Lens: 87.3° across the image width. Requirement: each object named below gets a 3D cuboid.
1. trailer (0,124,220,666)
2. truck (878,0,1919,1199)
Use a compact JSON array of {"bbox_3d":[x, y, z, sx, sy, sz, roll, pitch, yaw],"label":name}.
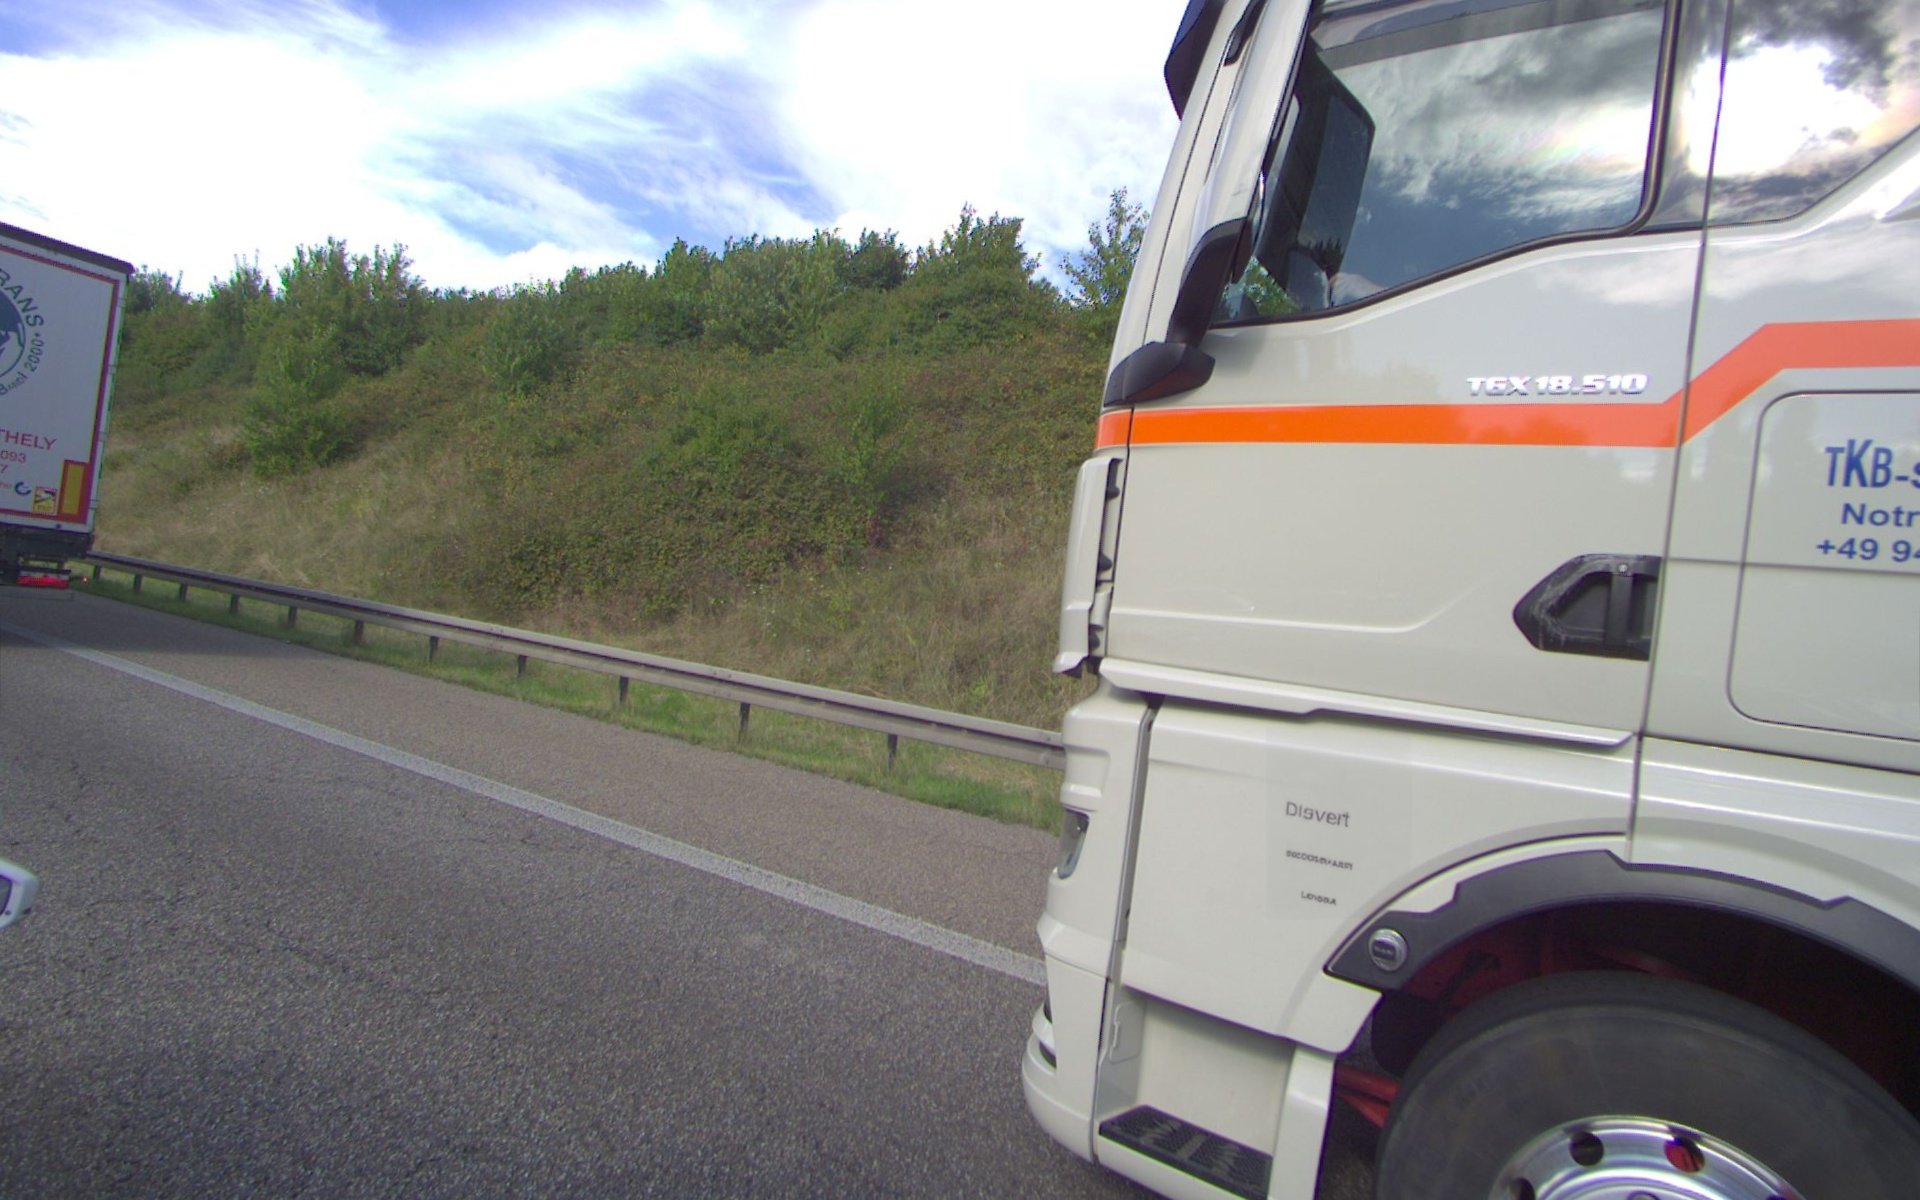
[{"bbox_3d":[-14.161,-2.472,12.361,13.068,4.715,3.008,7,-1,31],"label":"trailer"},{"bbox_3d":[3.212,-0.156,1.962,5.807,4.091,2.807,7,-1,33],"label":"truck"}]
